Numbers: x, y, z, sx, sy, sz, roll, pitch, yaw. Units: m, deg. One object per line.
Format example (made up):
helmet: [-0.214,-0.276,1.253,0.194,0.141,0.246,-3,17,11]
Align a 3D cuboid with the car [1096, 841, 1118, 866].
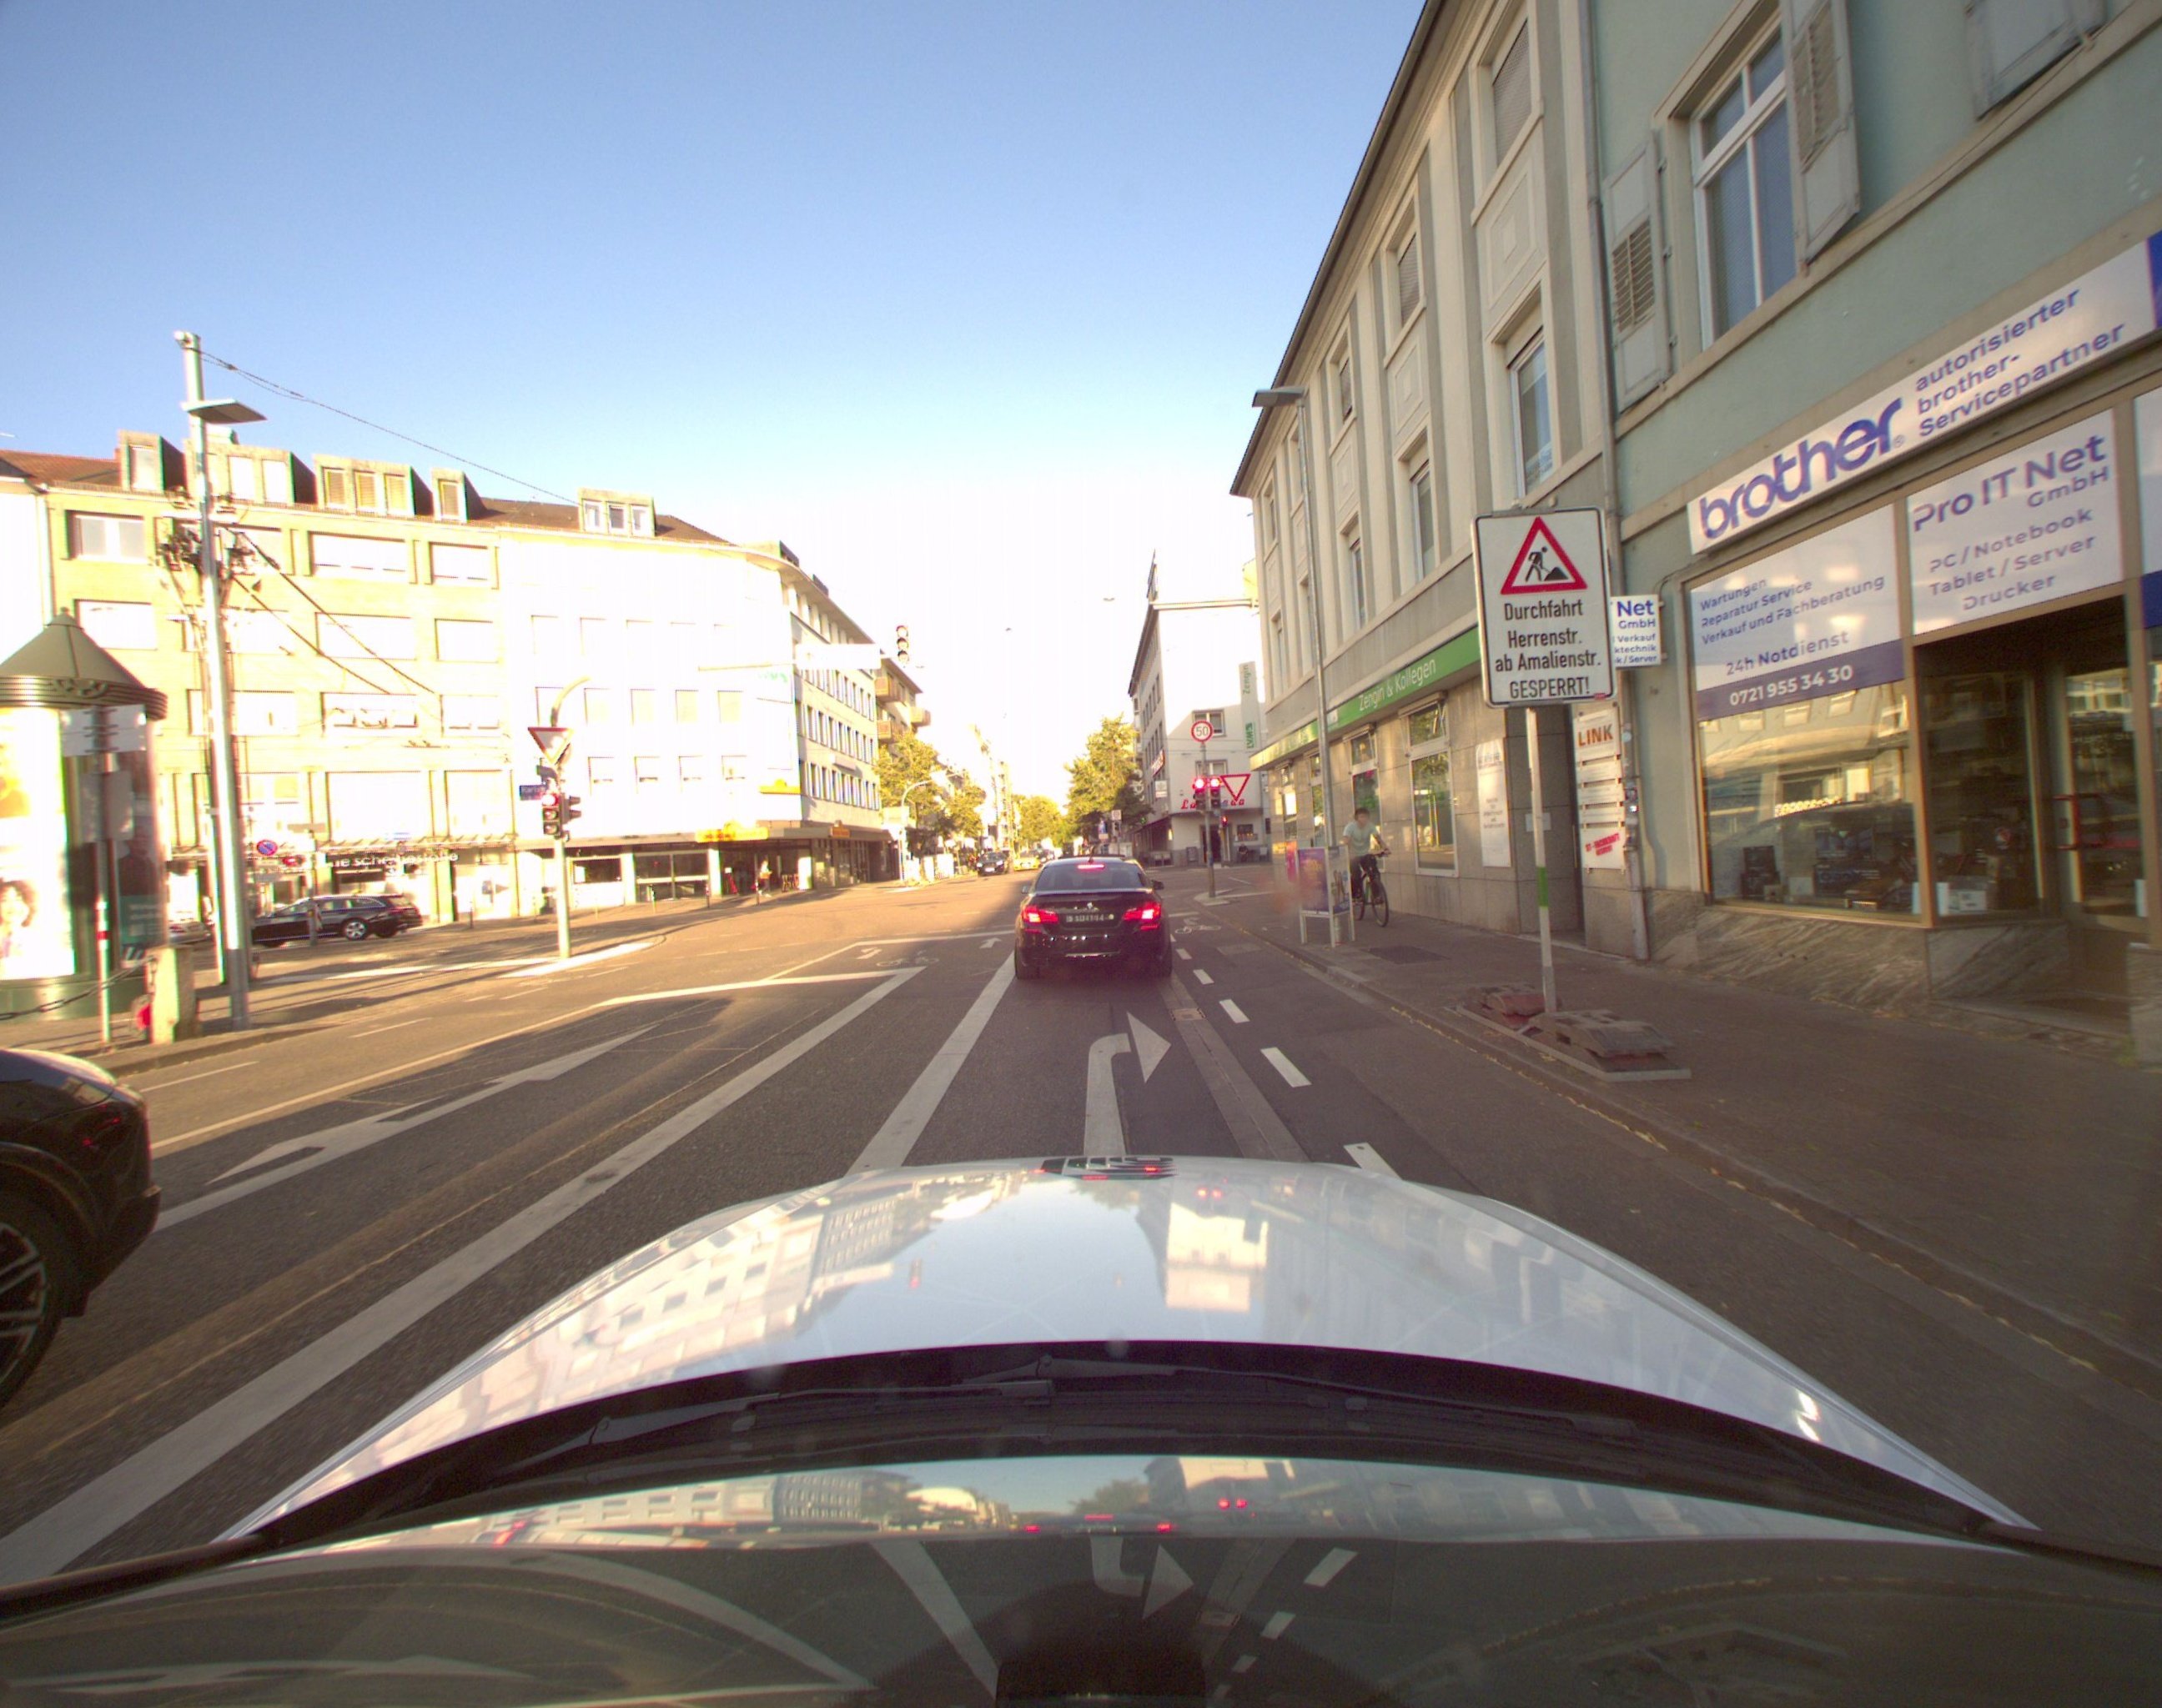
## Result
car: [2.024,-0.056,64.558,1.418,1.854,3.050,-2,0,-3]

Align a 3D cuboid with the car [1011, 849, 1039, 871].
car: [-4.251,0.437,61.359,1.991,1.442,3.993,-3,0,-5]

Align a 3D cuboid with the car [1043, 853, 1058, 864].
car: [-4.202,0.576,110.998,1.731,1.293,3.993,-3,0,-5]

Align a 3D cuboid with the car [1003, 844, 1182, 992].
car: [0.109,0.669,11.076,1.898,1.540,4.448,-2,0,-1]

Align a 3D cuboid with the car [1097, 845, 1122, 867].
car: [2.017,0.139,58.155,1.620,1.471,3.394,-2,0,0]

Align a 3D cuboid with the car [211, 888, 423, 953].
car: [-23.961,2.048,25.747,4.441,1.595,1.870,-3,0,-14]

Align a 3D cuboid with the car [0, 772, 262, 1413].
car: [-3.936,0.716,0.557,1.942,1.714,4.563,-4,1,1]

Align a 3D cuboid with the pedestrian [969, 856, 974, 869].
pedestrian: [-12.767,1.001,95.243,0.443,1.416,0.525,-4,0,-2]

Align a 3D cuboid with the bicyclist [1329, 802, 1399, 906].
bicyclist: [4.355,-0.003,12.584,0.719,1.507,0.900,-3,0,2]

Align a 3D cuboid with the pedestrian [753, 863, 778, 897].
pedestrian: [-14.652,1.197,37.791,0.950,1.537,0.901,-3,0,-25]

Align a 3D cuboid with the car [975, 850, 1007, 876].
car: [-6.161,0.582,55.941,1.991,1.618,3.993,-3,0,-5]

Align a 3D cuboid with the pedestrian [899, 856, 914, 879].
pedestrian: [-12.968,1.008,60.383,0.821,1.676,0.871,-4,0,-1]

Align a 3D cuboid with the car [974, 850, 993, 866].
car: [-9.918,0.421,82.836,1.731,1.461,3.993,-4,0,-5]

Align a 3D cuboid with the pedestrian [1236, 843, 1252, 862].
pedestrian: [9.937,-0.097,49.688,0.695,1.157,0.843,-4,0,-1]

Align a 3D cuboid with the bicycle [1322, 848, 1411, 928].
bicycle: [4.374,0.478,12.637,0.688,1.107,1.896,-3,0,1]

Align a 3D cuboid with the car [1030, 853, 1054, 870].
car: [-3.284,0.640,68.116,1.731,1.293,3.993,-3,0,-5]
